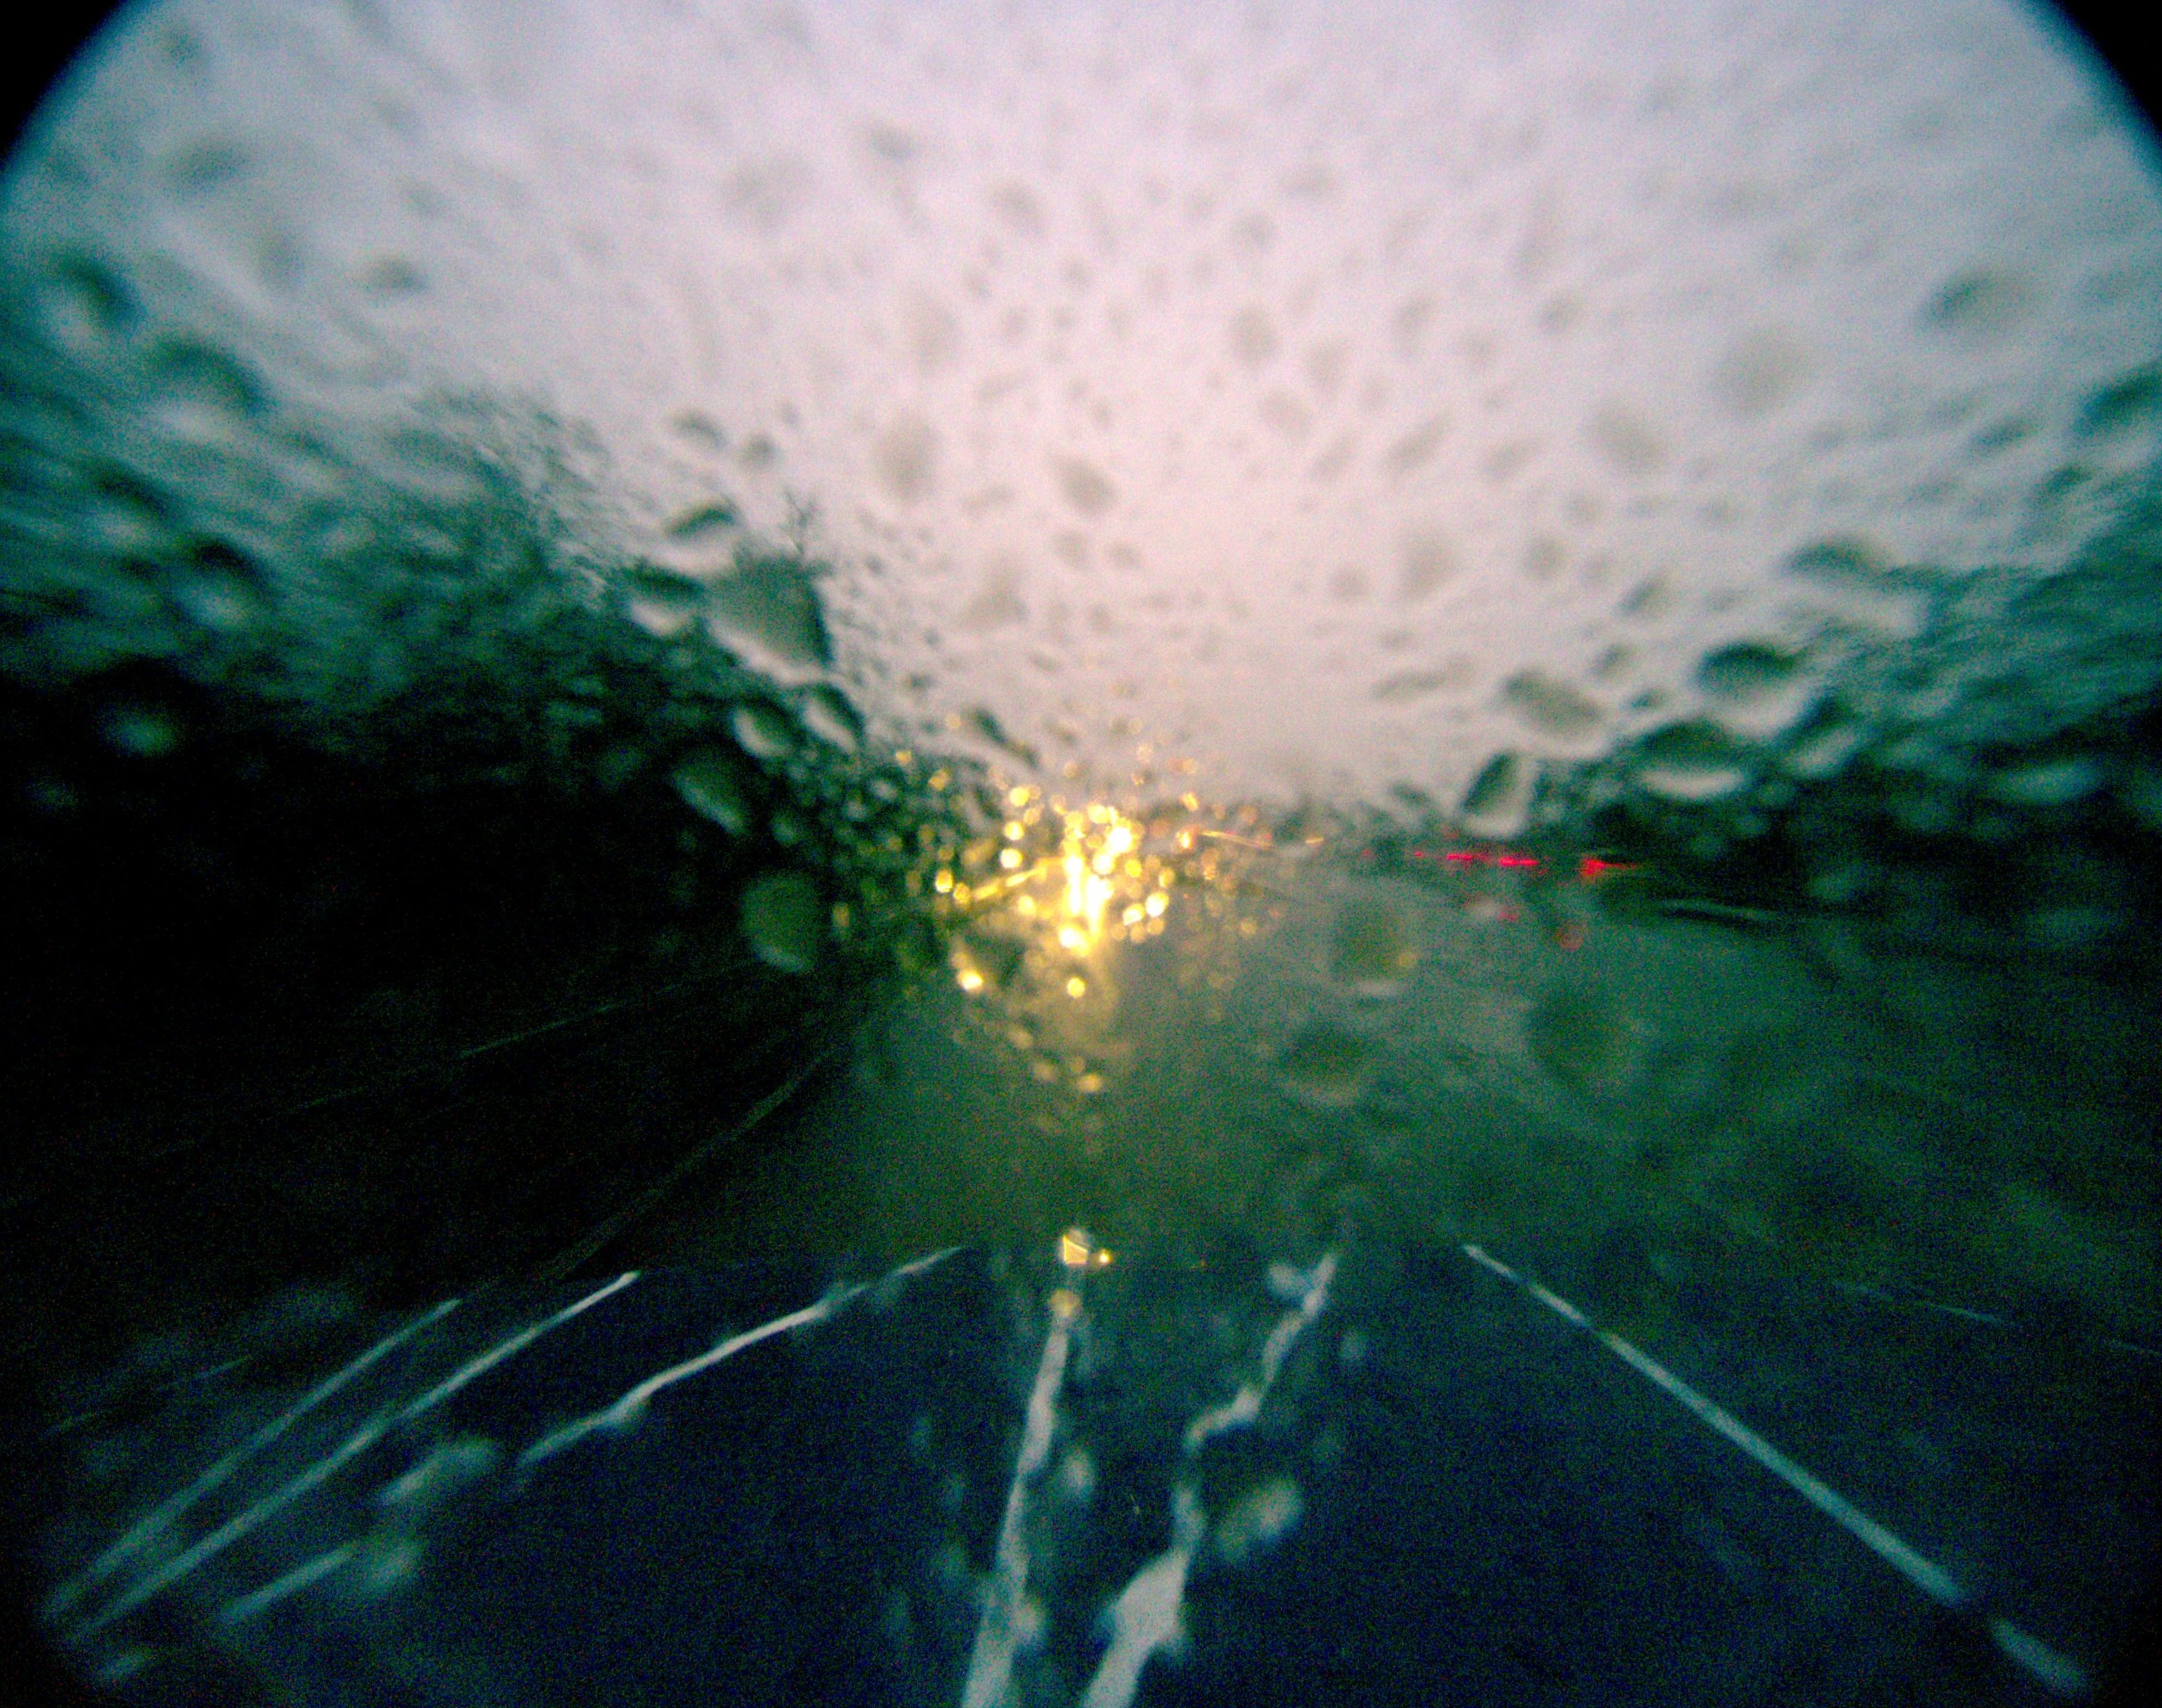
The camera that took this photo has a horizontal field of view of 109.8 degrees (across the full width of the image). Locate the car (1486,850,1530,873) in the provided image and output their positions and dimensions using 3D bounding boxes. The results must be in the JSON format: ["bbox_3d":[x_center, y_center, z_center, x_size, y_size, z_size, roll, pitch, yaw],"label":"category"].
[{"bbox_3d":[30.946,0.507,55.146,1.461,1.556,3.652,-1,1,7],"label":"car"}]

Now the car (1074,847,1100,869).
[{"bbox_3d":[0.483,0.299,57.088,1.841,1.553,3.867,-2,1,1],"label":"car"}]

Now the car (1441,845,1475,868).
[{"bbox_3d":[34.906,0.207,70.421,1.996,2.002,4.004,-1,1,14],"label":"car"}]

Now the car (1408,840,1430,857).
[{"bbox_3d":[40.410,-0.700,90.942,1.914,2.002,4.004,-1,1,16],"label":"car"}]

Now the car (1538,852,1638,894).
[{"bbox_3d":[20.426,0.710,30.824,1.704,1.556,4.043,-1,1,7],"label":"car"}]
